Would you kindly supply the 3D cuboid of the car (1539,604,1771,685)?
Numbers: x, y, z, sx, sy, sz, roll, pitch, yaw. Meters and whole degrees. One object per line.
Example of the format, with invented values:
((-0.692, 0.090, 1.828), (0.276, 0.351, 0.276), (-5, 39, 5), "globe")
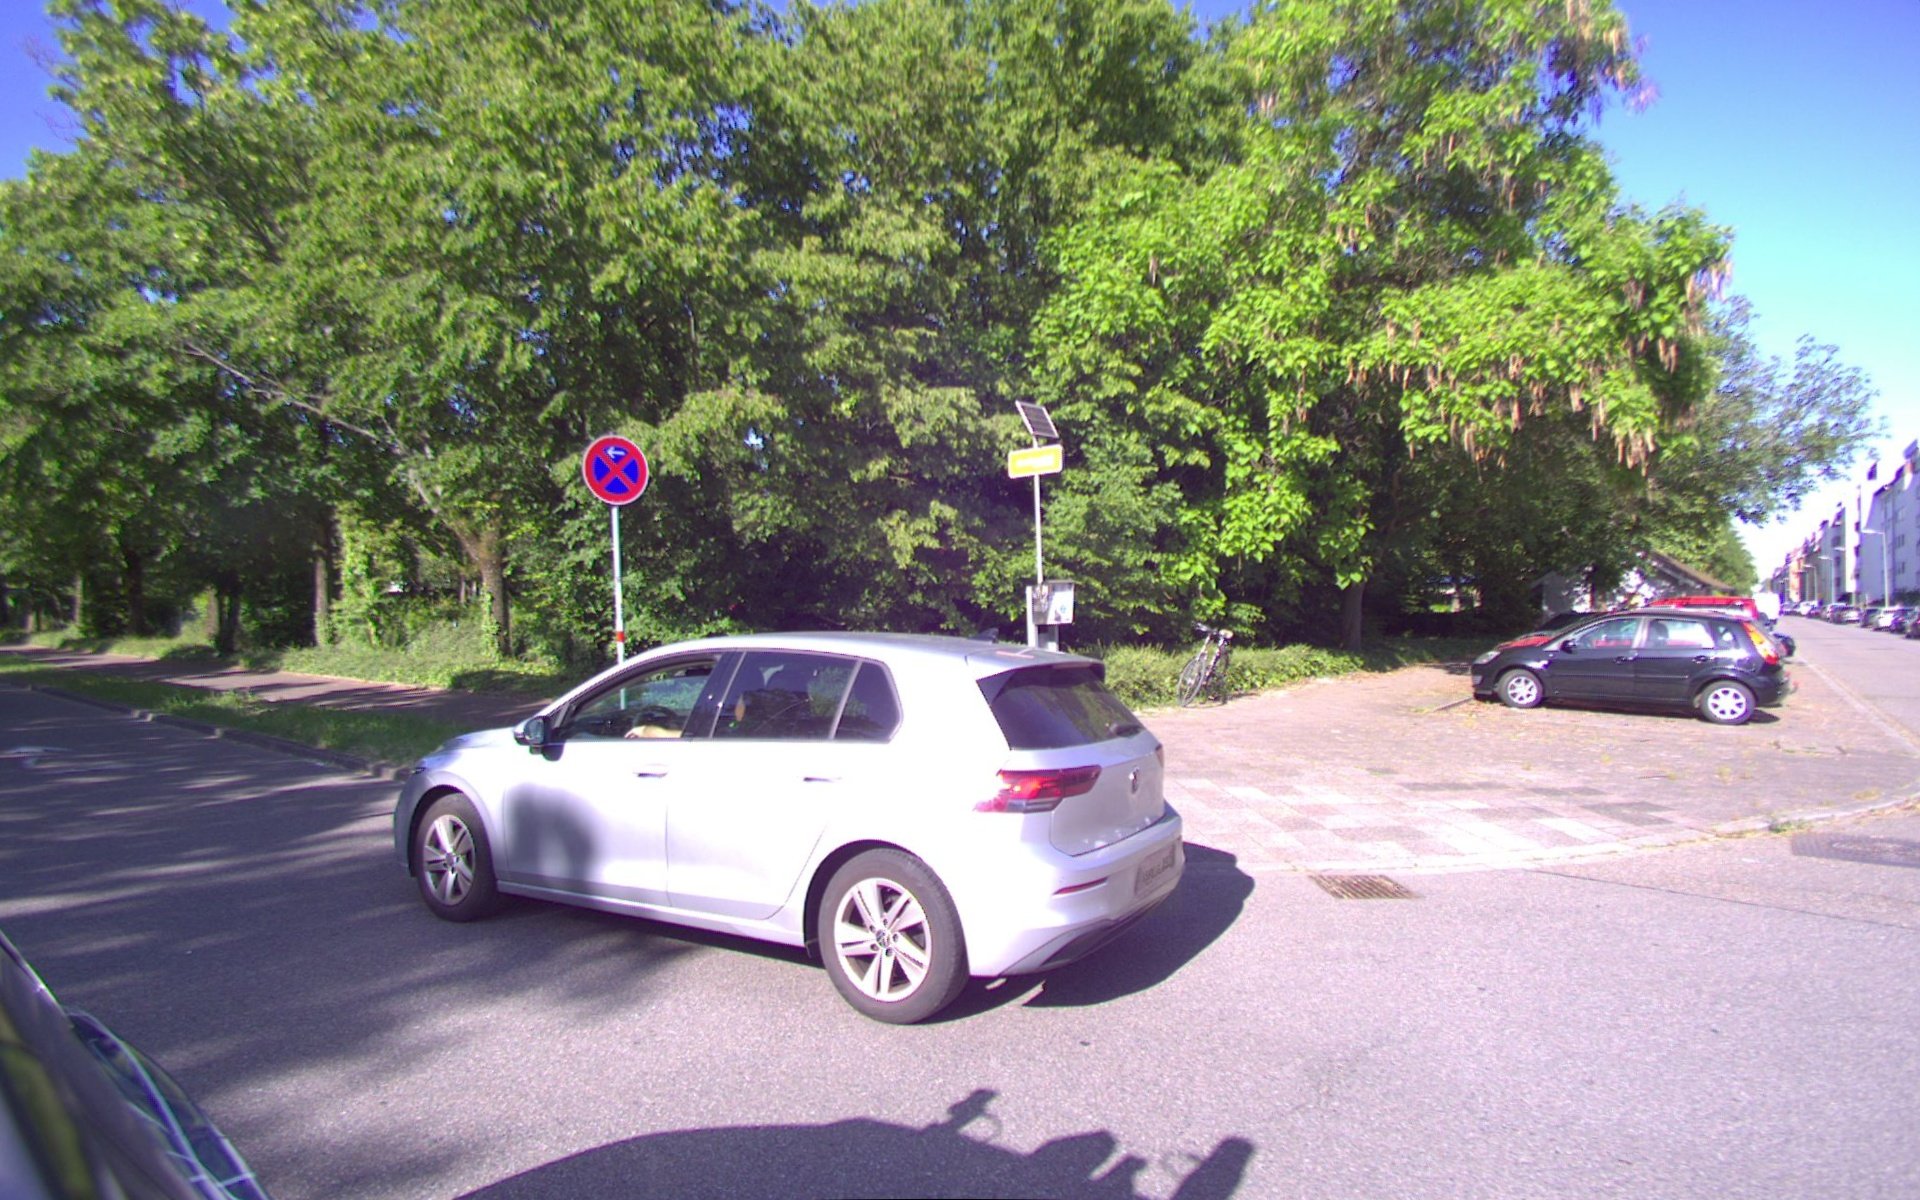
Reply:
((14.467, 0.867, 21.211), (3.880, 1.498, 1.654), (1, 0, 38), "car")

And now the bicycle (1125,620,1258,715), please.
((3.081, 0.848, 13.360), (1.876, 1.161, 0.761), (1, -2, -42), "bicycle")

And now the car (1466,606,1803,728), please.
((9.633, 0.859, 14.675), (3.880, 1.498, 1.654), (1, 0, 38), "car")

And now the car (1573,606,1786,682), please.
((16.447, 0.941, 23.273), (3.880, 1.569, 1.654), (1, 0, 38), "car")

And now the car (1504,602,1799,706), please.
((11.326, 0.806, 16.771), (3.880, 1.498, 1.654), (1, 0, 38), "car")

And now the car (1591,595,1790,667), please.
((20.084, 0.804, 27.984), (4.349, 1.821, 1.654), (1, 0, 38), "car")

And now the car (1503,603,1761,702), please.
((12.473, 0.900, 18.934), (3.880, 1.615, 1.654), (1, 0, 38), "car")

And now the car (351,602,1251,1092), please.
((-0.889, 0.797, 4.909), (4.171, 1.478, 1.650), (1, -2, 29), "car")
